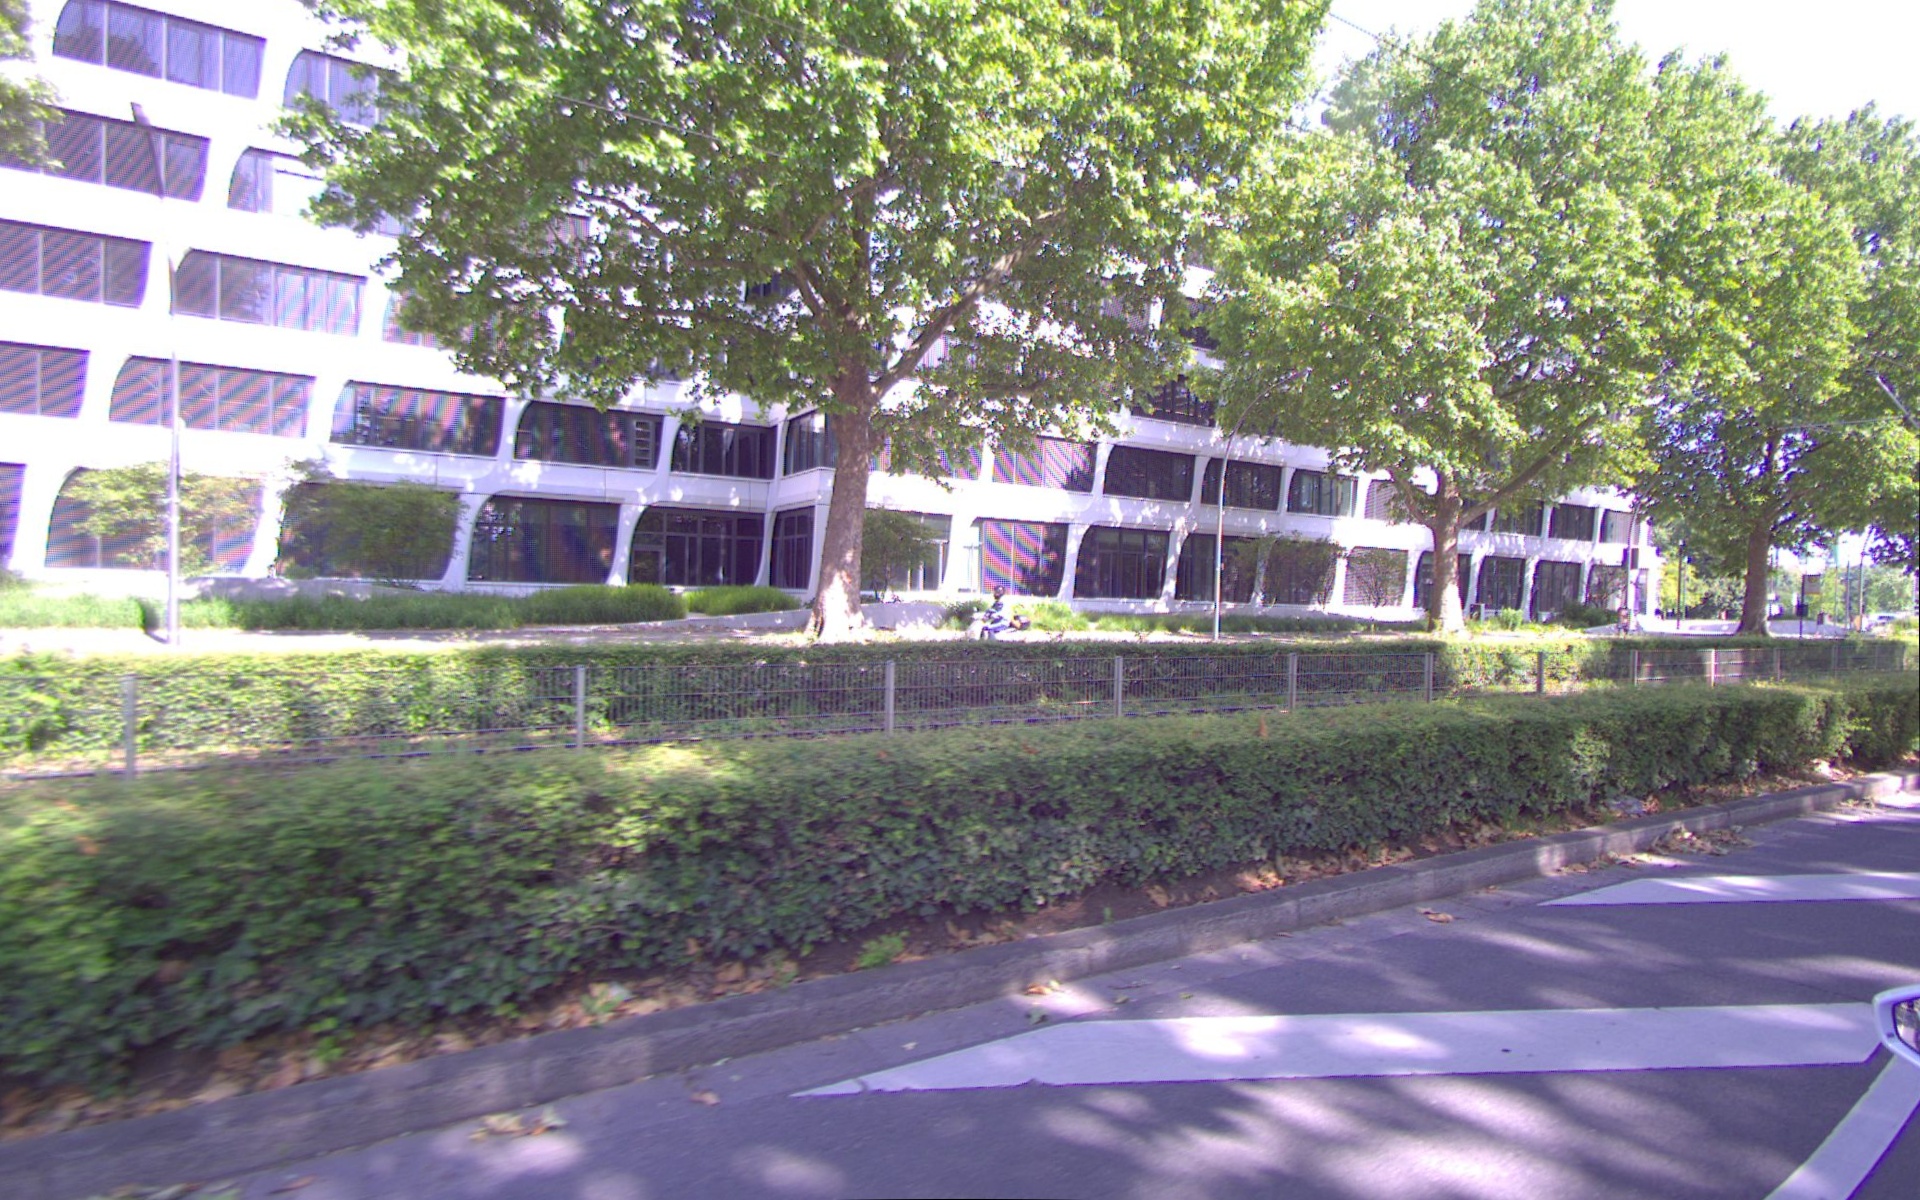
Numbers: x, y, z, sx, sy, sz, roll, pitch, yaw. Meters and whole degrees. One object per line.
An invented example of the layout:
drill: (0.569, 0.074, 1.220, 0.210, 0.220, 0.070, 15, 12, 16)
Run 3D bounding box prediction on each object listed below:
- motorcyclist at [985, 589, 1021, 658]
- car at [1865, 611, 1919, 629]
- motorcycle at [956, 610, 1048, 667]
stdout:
motorcyclist: (0.944, 0.510, 22.008, 0.527, 1.477, 0.578, 1, 1, -30)
car: (92.060, 1.976, 98.997, 1.748, 1.569, 3.830, 1, 1, -29)
motorcycle: (0.933, 0.829, 22.020, 1.976, 1.190, 0.629, 1, 1, -31)
